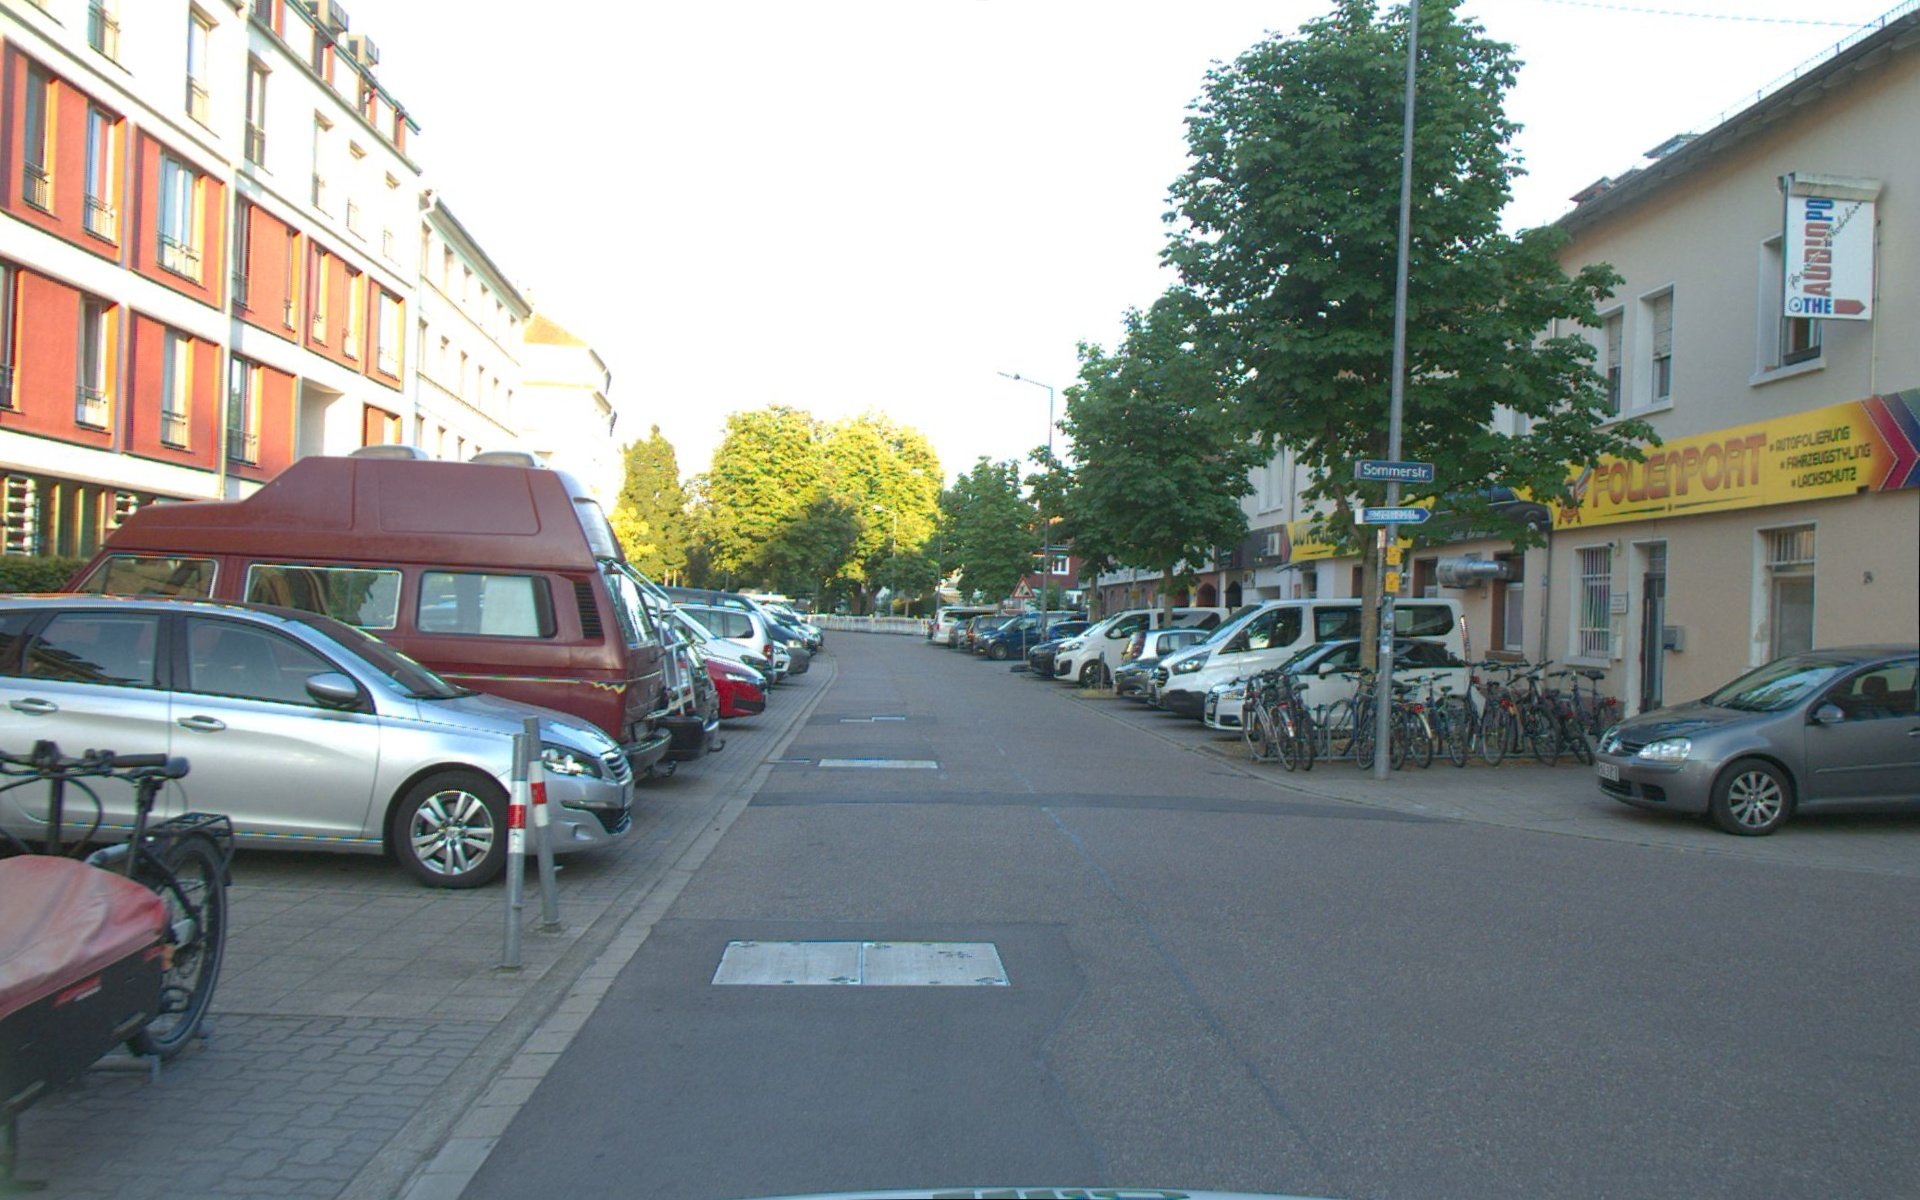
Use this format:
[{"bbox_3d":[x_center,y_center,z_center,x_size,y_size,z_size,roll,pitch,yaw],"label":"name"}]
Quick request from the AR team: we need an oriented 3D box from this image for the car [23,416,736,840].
[{"bbox_3d":[-4.064,0.202,12.242,4.420,2.629,1.999,3,-1,-1],"label":"car"}]

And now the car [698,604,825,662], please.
[{"bbox_3d":[-6.933,1.148,58.140,4.172,1.744,1.999,3,-1,-3],"label":"car"}]

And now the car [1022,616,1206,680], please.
[{"bbox_3d":[4.264,1.320,46.254,4.846,1.718,2.075,0,-1,-4],"label":"car"}]

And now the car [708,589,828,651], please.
[{"bbox_3d":[-7.571,0.808,65.596,4.443,2.171,1.999,3,-1,-3],"label":"car"}]

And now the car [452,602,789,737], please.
[{"bbox_3d":[-4.495,0.912,22.398,4.125,1.516,1.849,3,-1,-2],"label":"car"}]

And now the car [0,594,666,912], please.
[{"bbox_3d":[-4.115,0.805,9.590,4.527,1.485,1.878,3,-1,-6],"label":"car"}]

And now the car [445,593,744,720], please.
[{"bbox_3d":[-5.494,0.849,25.340,4.127,1.644,1.998,3,-1,-4],"label":"car"}]

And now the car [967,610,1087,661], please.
[{"bbox_3d":[2.568,1.358,63.695,4.394,1.945,1.685,0,-1,-7],"label":"car"}]

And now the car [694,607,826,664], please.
[{"bbox_3d":[-6.656,1.179,55.475,4.173,1.650,1.999,3,-1,-4],"label":"car"}]

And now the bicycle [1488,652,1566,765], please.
[{"bbox_3d":[6.536,1.229,19.118,0.346,1.221,1.480,1,-1,-2],"label":"bicycle"}]

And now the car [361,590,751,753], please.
[{"bbox_3d":[-4.652,0.823,19.617,4.127,1.603,1.998,3,-1,-4],"label":"car"}]

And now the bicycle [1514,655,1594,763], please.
[{"bbox_3d":[6.886,1.245,19.213,0.346,1.163,1.480,1,-1,-2],"label":"bicycle"}]

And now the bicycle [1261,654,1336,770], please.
[{"bbox_3d":[3.898,1.268,19.175,0.378,1.221,2.016,1,-1,-2],"label":"bicycle"}]

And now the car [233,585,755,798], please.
[{"bbox_3d":[-4.003,0.786,14.809,4.127,1.565,1.789,3,-1,-4],"label":"car"}]

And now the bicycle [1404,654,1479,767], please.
[{"bbox_3d":[5.547,1.252,19.117,0.378,1.221,1.480,1,-1,-2],"label":"bicycle"}]

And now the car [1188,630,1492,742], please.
[{"bbox_3d":[5.308,1.181,23.396,3.842,1.477,1.766,0,-1,-5],"label":"car"}]

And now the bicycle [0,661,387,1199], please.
[{"bbox_3d":[-2.443,0.842,4.426,0.791,1.242,2.864,3,-1,-1],"label":"bicycle"}]

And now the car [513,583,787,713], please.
[{"bbox_3d":[-5.119,0.789,27.796,4.172,1.868,1.999,3,-1,-3],"label":"car"}]

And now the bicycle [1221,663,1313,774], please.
[{"bbox_3d":[3.495,1.326,18.970,0.430,1.150,2.014,1,-1,-8],"label":"bicycle"}]

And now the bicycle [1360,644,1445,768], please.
[{"bbox_3d":[5.130,1.201,19.257,0.378,1.327,2.016,1,-1,-2],"label":"bicycle"}]

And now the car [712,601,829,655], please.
[{"bbox_3d":[-7.183,1.062,62.946,4.172,1.780,1.999,3,-1,-3],"label":"car"}]

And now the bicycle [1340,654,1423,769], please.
[{"bbox_3d":[4.873,1.263,19.236,0.378,1.221,2.016,1,-1,-2],"label":"bicycle"}]

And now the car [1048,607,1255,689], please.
[{"bbox_3d":[4.734,1.180,41.331,4.846,1.992,2.047,0,-1,-4],"label":"car"}]

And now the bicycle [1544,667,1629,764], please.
[{"bbox_3d":[7.279,1.326,19.274,0.380,1.035,1.480,1,-1,-2],"label":"bicycle"}]

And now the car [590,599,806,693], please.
[{"bbox_3d":[-5.411,0.947,34.613,4.172,1.681,1.887,3,-1,-3],"label":"car"}]

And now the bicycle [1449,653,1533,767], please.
[{"bbox_3d":[6.115,1.248,19.109,0.436,1.221,1.480,1,-1,-2],"label":"bicycle"}]

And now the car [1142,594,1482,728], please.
[{"bbox_3d":[5.464,0.936,26.194,4.889,2.018,2.219,0,-1,-2],"label":"car"}]

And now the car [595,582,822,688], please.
[{"bbox_3d":[-5.584,0.780,37.164,4.754,2.056,1.905,3,-1,-3],"label":"car"}]

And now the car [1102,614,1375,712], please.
[{"bbox_3d":[5.225,1.170,31.527,4.844,1.773,2.048,0,-1,-2],"label":"car"}]

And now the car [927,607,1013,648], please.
[{"bbox_3d":[0.463,1.305,79.183,3.893,1.945,2.046,0,-1,-7],"label":"car"}]

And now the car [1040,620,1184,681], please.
[{"bbox_3d":[4.670,1.545,51.177,4.231,1.836,1.809,0,-1,-4],"label":"car"}]

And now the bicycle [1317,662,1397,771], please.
[{"bbox_3d":[4.592,1.320,19.236,0.378,1.133,2.016,1,-1,-2],"label":"bicycle"}]

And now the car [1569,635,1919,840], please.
[{"bbox_3d":[7.494,1.123,14.072,3.968,1.541,1.756,1,1,-2],"label":"car"}]

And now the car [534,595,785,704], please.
[{"bbox_3d":[-5.404,0.882,30.189,4.172,1.689,1.999,3,-1,-3],"label":"car"}]

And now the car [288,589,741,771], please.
[{"bbox_3d":[-4.563,0.800,17.352,4.121,1.565,1.842,3,-1,3],"label":"car"}]

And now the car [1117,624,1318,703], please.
[{"bbox_3d":[5.265,1.287,34.162,3.832,1.553,1.938,0,-1,-2],"label":"car"}]
